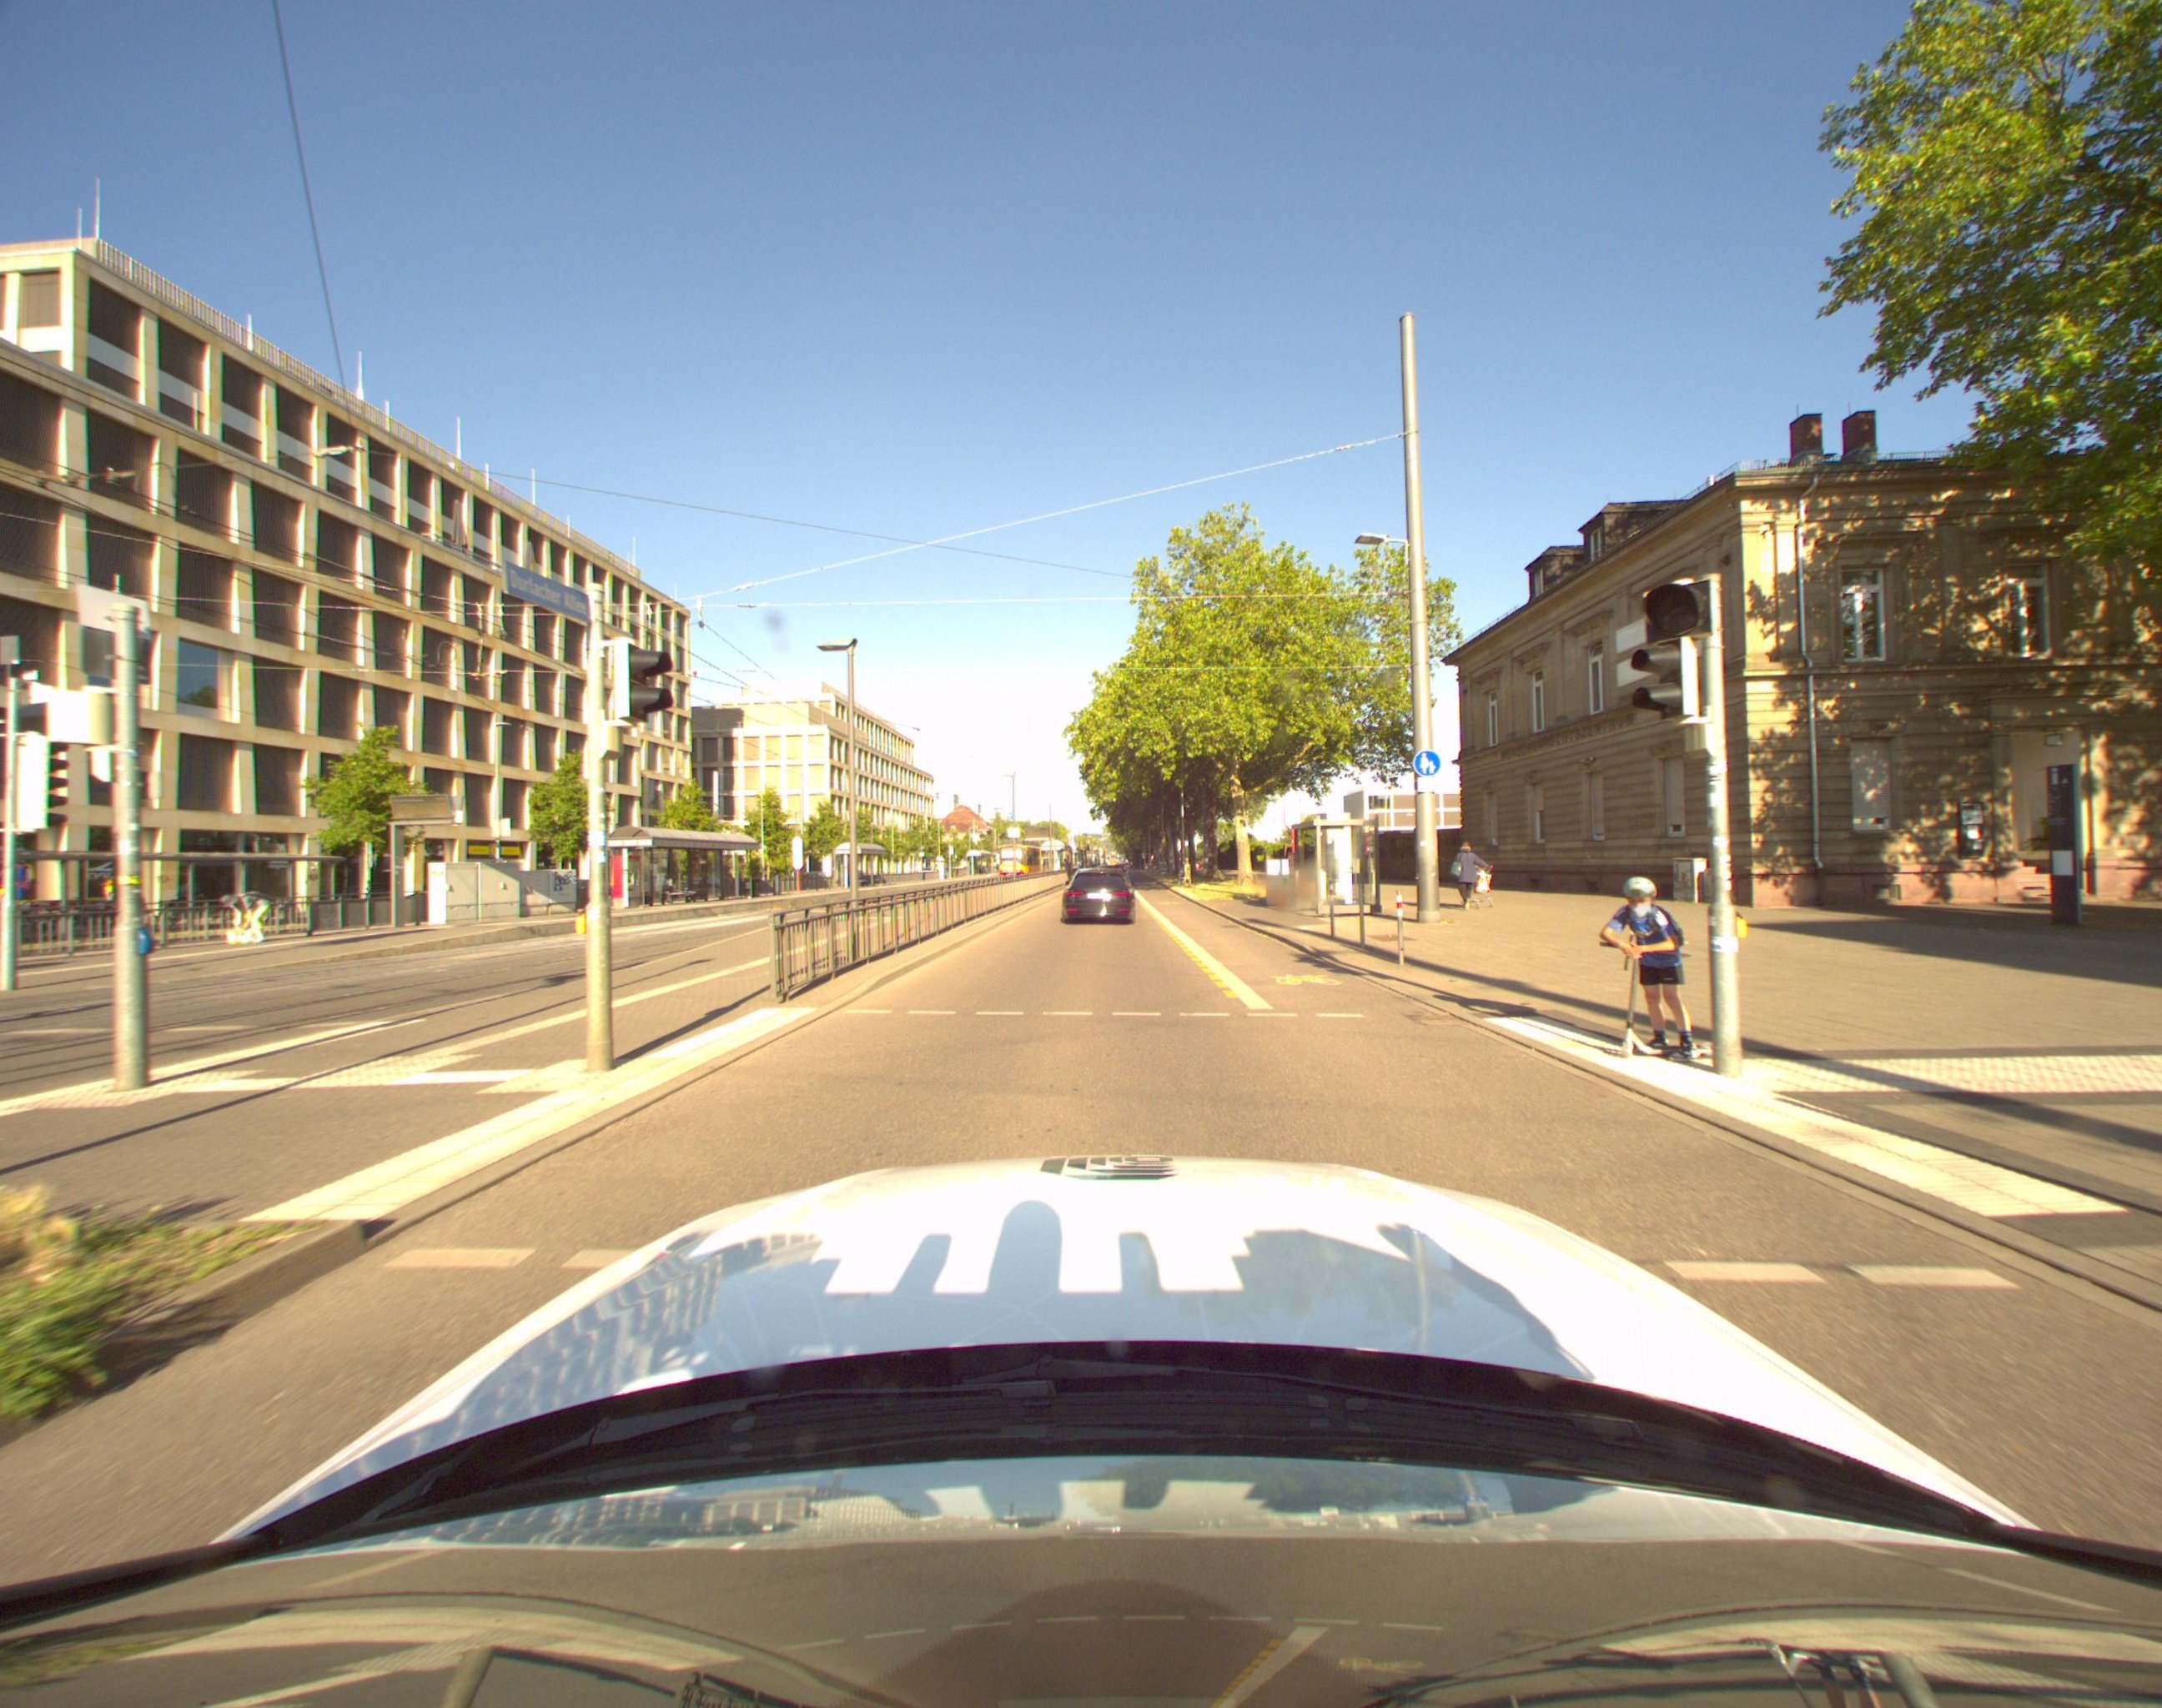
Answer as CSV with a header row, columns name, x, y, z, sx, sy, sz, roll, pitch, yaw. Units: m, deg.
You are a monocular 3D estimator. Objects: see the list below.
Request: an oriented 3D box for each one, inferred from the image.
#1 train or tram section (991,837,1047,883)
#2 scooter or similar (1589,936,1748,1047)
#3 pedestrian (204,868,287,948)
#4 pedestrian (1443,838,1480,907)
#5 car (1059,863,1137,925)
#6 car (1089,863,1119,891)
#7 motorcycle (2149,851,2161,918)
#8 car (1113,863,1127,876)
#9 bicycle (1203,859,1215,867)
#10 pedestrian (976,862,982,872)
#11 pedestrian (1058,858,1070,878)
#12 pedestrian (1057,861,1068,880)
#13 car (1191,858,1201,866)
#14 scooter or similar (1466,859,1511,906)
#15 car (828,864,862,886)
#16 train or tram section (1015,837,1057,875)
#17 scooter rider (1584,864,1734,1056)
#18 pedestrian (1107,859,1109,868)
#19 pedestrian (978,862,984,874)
name,x,y,z,sx,sy,sz,roll,pitch,yaw
train or tram section,-5.577,0.593,76.350,3.295,3.829,14.228,-1,-1,3
scooter or similar,4.587,1.069,6.376,1.017,0.811,0.265,-1,-1,2
pedestrian,-17.981,1.142,17.542,0.790,1.644,0.934,-1,-1,4
pedestrian,9.917,0.473,21.217,0.762,1.744,0.801,-4,-1,27
car,0.432,0.997,21.644,1.872,1.457,3.357,-1,0,1
car,1.376,1.368,50.238,1.756,1.619,4.000,-1,-1,1
motorcycle,18.799,0.483,12.999,2.064,1.103,0.889,-1,-1,9
car,5.135,2.068,107.799,1.756,1.619,4.000,-1,-1,1
bicycle,19.072,1.345,121.266,1.766,1.120,0.439,-3,-1,2
pedestrian,-12.774,1.632,102.200,0.611,1.260,0.726,-1,-1,7
pedestrian,-1.278,1.034,60.632,0.742,1.509,0.667,-2,-1,5
pedestrian,-1.295,1.142,57.029,0.739,1.274,0.525,-2,-1,2
car,23.225,1.645,164.169,1.607,1.515,3.806,-1,-1,3
scooter or similar,10.689,0.740,21.398,0.717,1.156,0.759,-3,-1,-4
car,-22.728,2.012,78.531,1.987,2.014,4.000,-1,0,1
train or tram section,-4.820,0.315,89.453,3.295,3.829,11.851,-1,-1,3
scooter rider,4.439,0.782,6.297,0.698,1.397,0.600,-1,-1,2
pedestrian,5.312,1.843,162.195,0.410,1.717,0.666,-1,-1,3
pedestrian,-12.820,1.772,104.557,0.610,1.528,0.726,-1,-1,11
